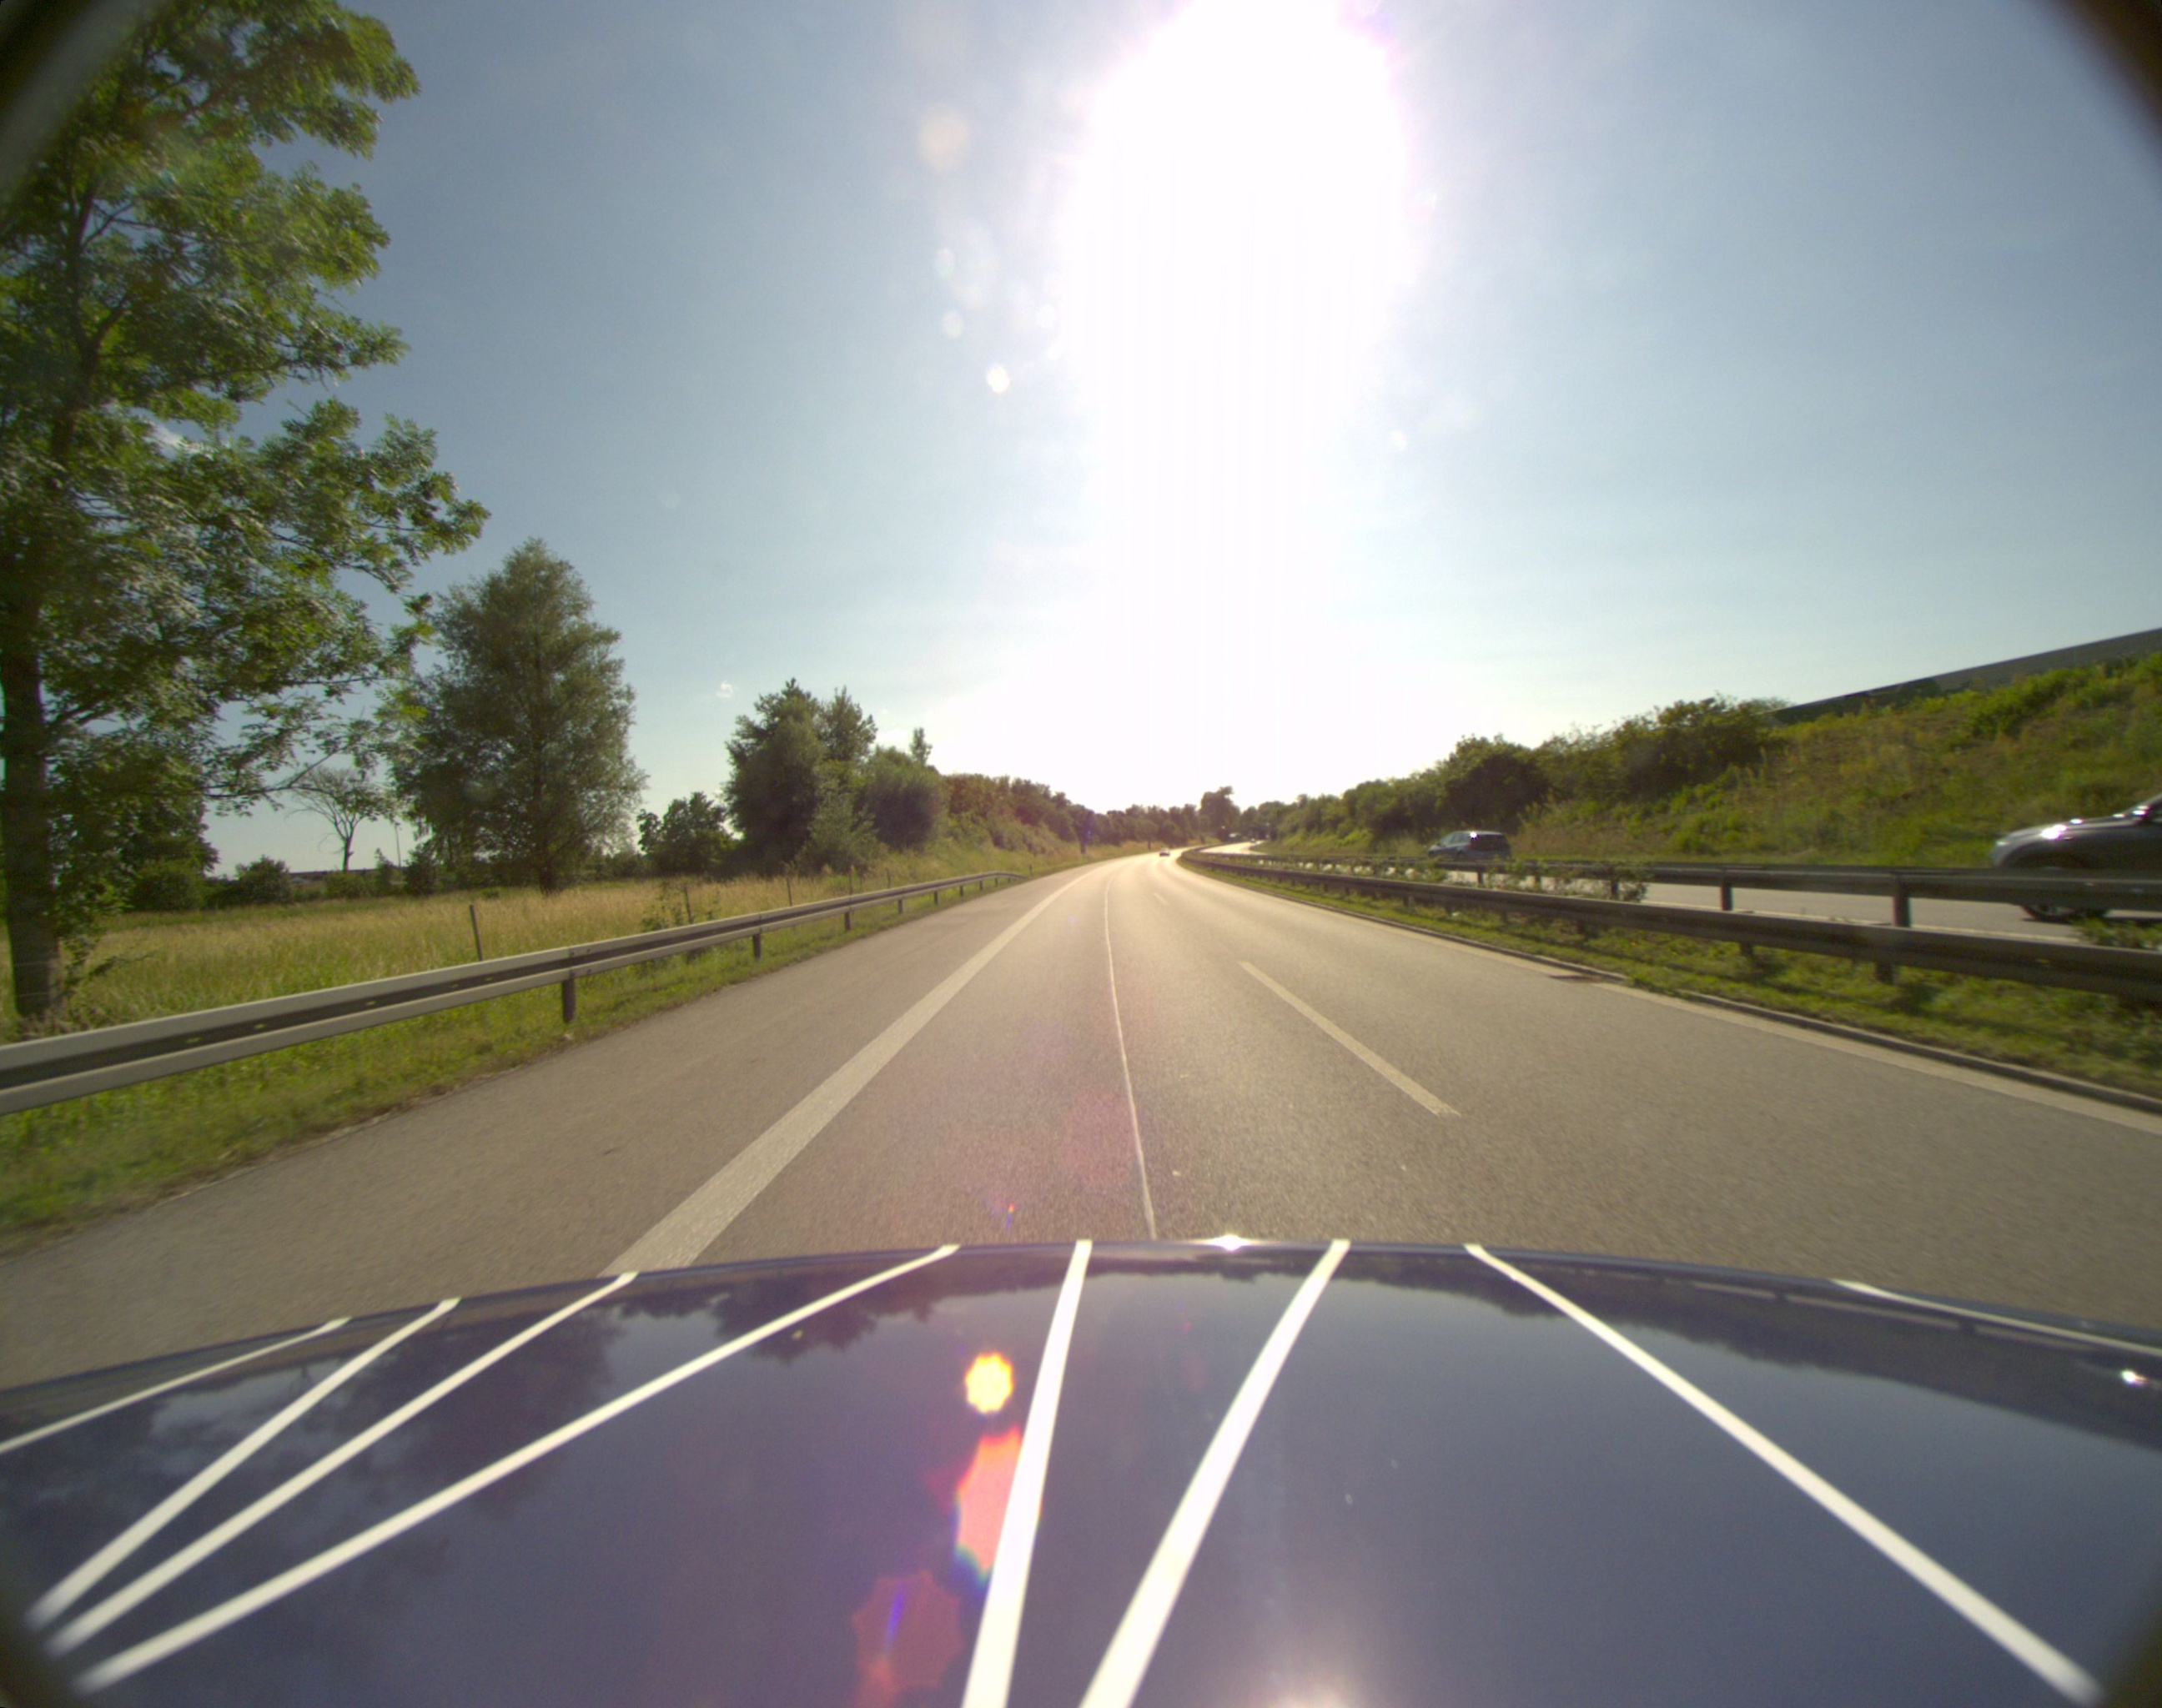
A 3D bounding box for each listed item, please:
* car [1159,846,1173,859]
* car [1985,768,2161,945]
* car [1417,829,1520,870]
[{"bbox_3d":[15.536,-0.301,138.669,1.997,2.002,4.602,-4,1,11],"label":"car"},{"bbox_3d":[11.197,0.014,6.114,2.073,1.669,4.887,-1,0,1],"label":"car"},{"bbox_3d":[15.513,-0.193,30.706,1.824,1.471,4.685,-3,1,2],"label":"car"}]
